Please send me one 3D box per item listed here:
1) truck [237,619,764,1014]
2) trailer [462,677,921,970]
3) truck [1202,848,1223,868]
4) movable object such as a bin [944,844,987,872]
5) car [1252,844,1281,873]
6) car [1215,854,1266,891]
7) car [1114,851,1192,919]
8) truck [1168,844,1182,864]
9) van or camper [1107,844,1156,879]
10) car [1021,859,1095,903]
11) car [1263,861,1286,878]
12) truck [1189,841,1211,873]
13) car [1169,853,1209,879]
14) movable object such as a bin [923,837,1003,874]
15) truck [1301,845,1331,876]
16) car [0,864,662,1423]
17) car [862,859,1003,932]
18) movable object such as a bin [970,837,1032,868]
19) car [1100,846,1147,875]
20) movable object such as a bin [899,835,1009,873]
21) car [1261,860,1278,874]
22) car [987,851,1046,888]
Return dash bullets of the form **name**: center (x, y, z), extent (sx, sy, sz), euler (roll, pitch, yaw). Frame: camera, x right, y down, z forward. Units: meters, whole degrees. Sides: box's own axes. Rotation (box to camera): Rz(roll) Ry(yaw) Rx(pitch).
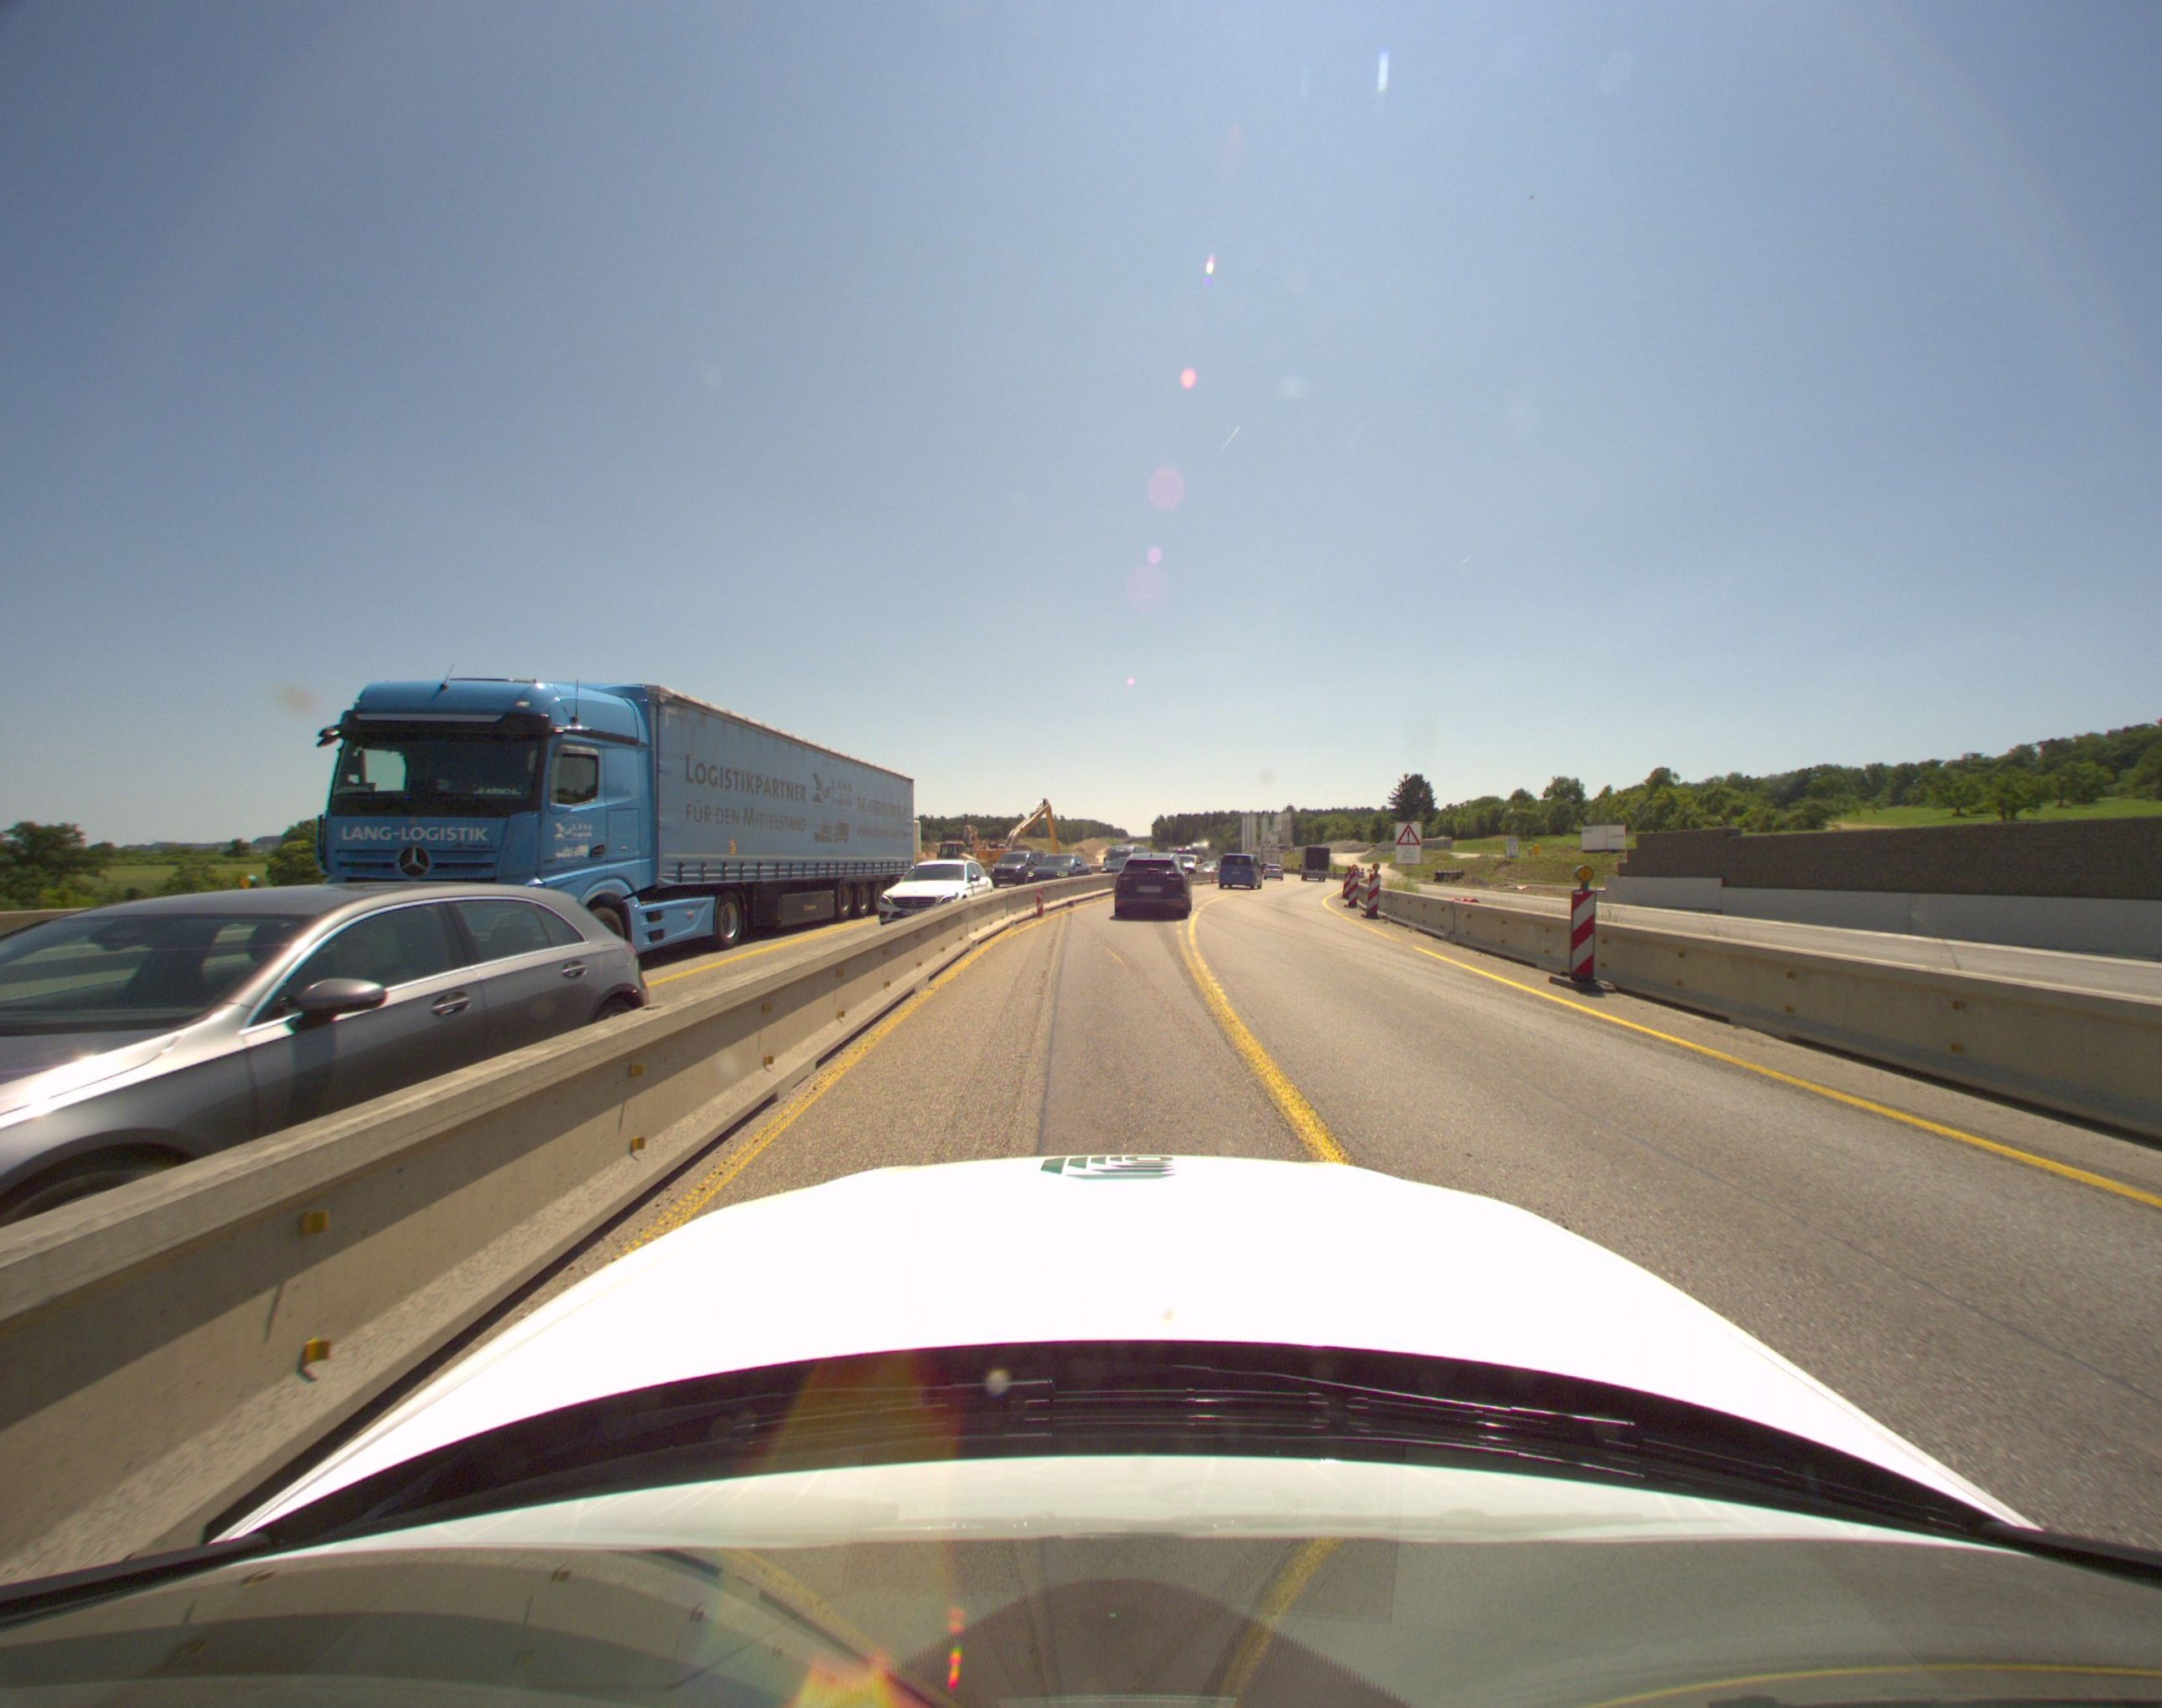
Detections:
- **truck**: center (-7.335, -0.410, 11.673), extent (2.902, 4.128, 6.142), euler (-1, 0, 2)
- **trailer**: center (-6.932, -0.478, 18.538), extent (2.901, 4.128, 13.930), euler (-1, 0, 4)
- **truck**: center (31.326, 0.932, 194.350), extent (3.461, 4.220, 10.387), euler (5, 1, 4)
- **movable object such as a bin**: center (-13.426, 0.407, 94.893), extent (3.643, 3.025, 5.005), euler (-1, 1, 8)
- **car**: center (28.641, 0.660, 126.023), extent (3.417, 4.100, 9.218), euler (4, 0, 8)
- **car**: center (8.692, 0.954, 44.158), extent (1.976, 1.844, 4.021), euler (1, 0, 21)
- **car**: center (1.943, 0.726, 21.255), extent (1.833, 1.582, 4.008), euler (1, 0, 7)
- **truck**: center (20.367, 0.038, 175.938), extent (2.758, 4.137, 10.890), euler (1, 0, 7)
- **van or camper**: center (3.890, 0.567, 61.654), extent (2.081, 2.541, 6.335), euler (-1, -1, 19)
- **car**: center (-0.844, 1.046, 33.157), extent (1.755, 1.607, 4.728), euler (-1, 0, 14)
- **car**: center (18.074, 1.401, 76.037), extent (2.031, 1.526, 5.085), euler (-1, -1, 14)
- **truck**: center (16.573, 0.412, 113.687), extent (2.756, 4.260, 6.211), euler (1, 0, 7)
- **car**: center (8.246, 0.889, 61.989), extent (1.857, 1.873, 5.083), euler (-2, -1, 20)
- **movable object such as a bin**: center (-9.901, 0.117, 68.374), extent (5.994, 2.763, 2.828), euler (3, 0, 28)
- **truck**: center (23.079, 0.648, 80.162), extent (2.654, 2.945, 5.641), euler (0, 0, 14)
- **car**: center (-3.727, 0.829, 3.585), extent (1.584, 1.441, 4.124), euler (-2, 0, 0)
- **car**: center (-3.241, 0.852, 18.829), extent (2.006, 1.444, 4.594), euler (0, 0, 5)
- **movable object such as a bin**: center (-6.962, -0.090, 71.766), extent (3.265, 2.440, 5.466), euler (4, 1, 20)
- **car**: center (2.414, 0.330, 45.025), extent (1.677, 1.481, 4.488), euler (-1, 0, 15)
- **movable object such as a bin**: center (-9.730, -0.031, 61.888), extent (7.829, 2.432, 3.741), euler (3, 0, 37)
- **car**: center (23.281, 1.541, 100.752), extent (1.810, 1.644, 3.875), euler (1, 0, 9)
- **car**: center (-3.230, 0.767, 41.887), extent (1.764, 1.765, 4.725), euler (-1, 0, 11)
